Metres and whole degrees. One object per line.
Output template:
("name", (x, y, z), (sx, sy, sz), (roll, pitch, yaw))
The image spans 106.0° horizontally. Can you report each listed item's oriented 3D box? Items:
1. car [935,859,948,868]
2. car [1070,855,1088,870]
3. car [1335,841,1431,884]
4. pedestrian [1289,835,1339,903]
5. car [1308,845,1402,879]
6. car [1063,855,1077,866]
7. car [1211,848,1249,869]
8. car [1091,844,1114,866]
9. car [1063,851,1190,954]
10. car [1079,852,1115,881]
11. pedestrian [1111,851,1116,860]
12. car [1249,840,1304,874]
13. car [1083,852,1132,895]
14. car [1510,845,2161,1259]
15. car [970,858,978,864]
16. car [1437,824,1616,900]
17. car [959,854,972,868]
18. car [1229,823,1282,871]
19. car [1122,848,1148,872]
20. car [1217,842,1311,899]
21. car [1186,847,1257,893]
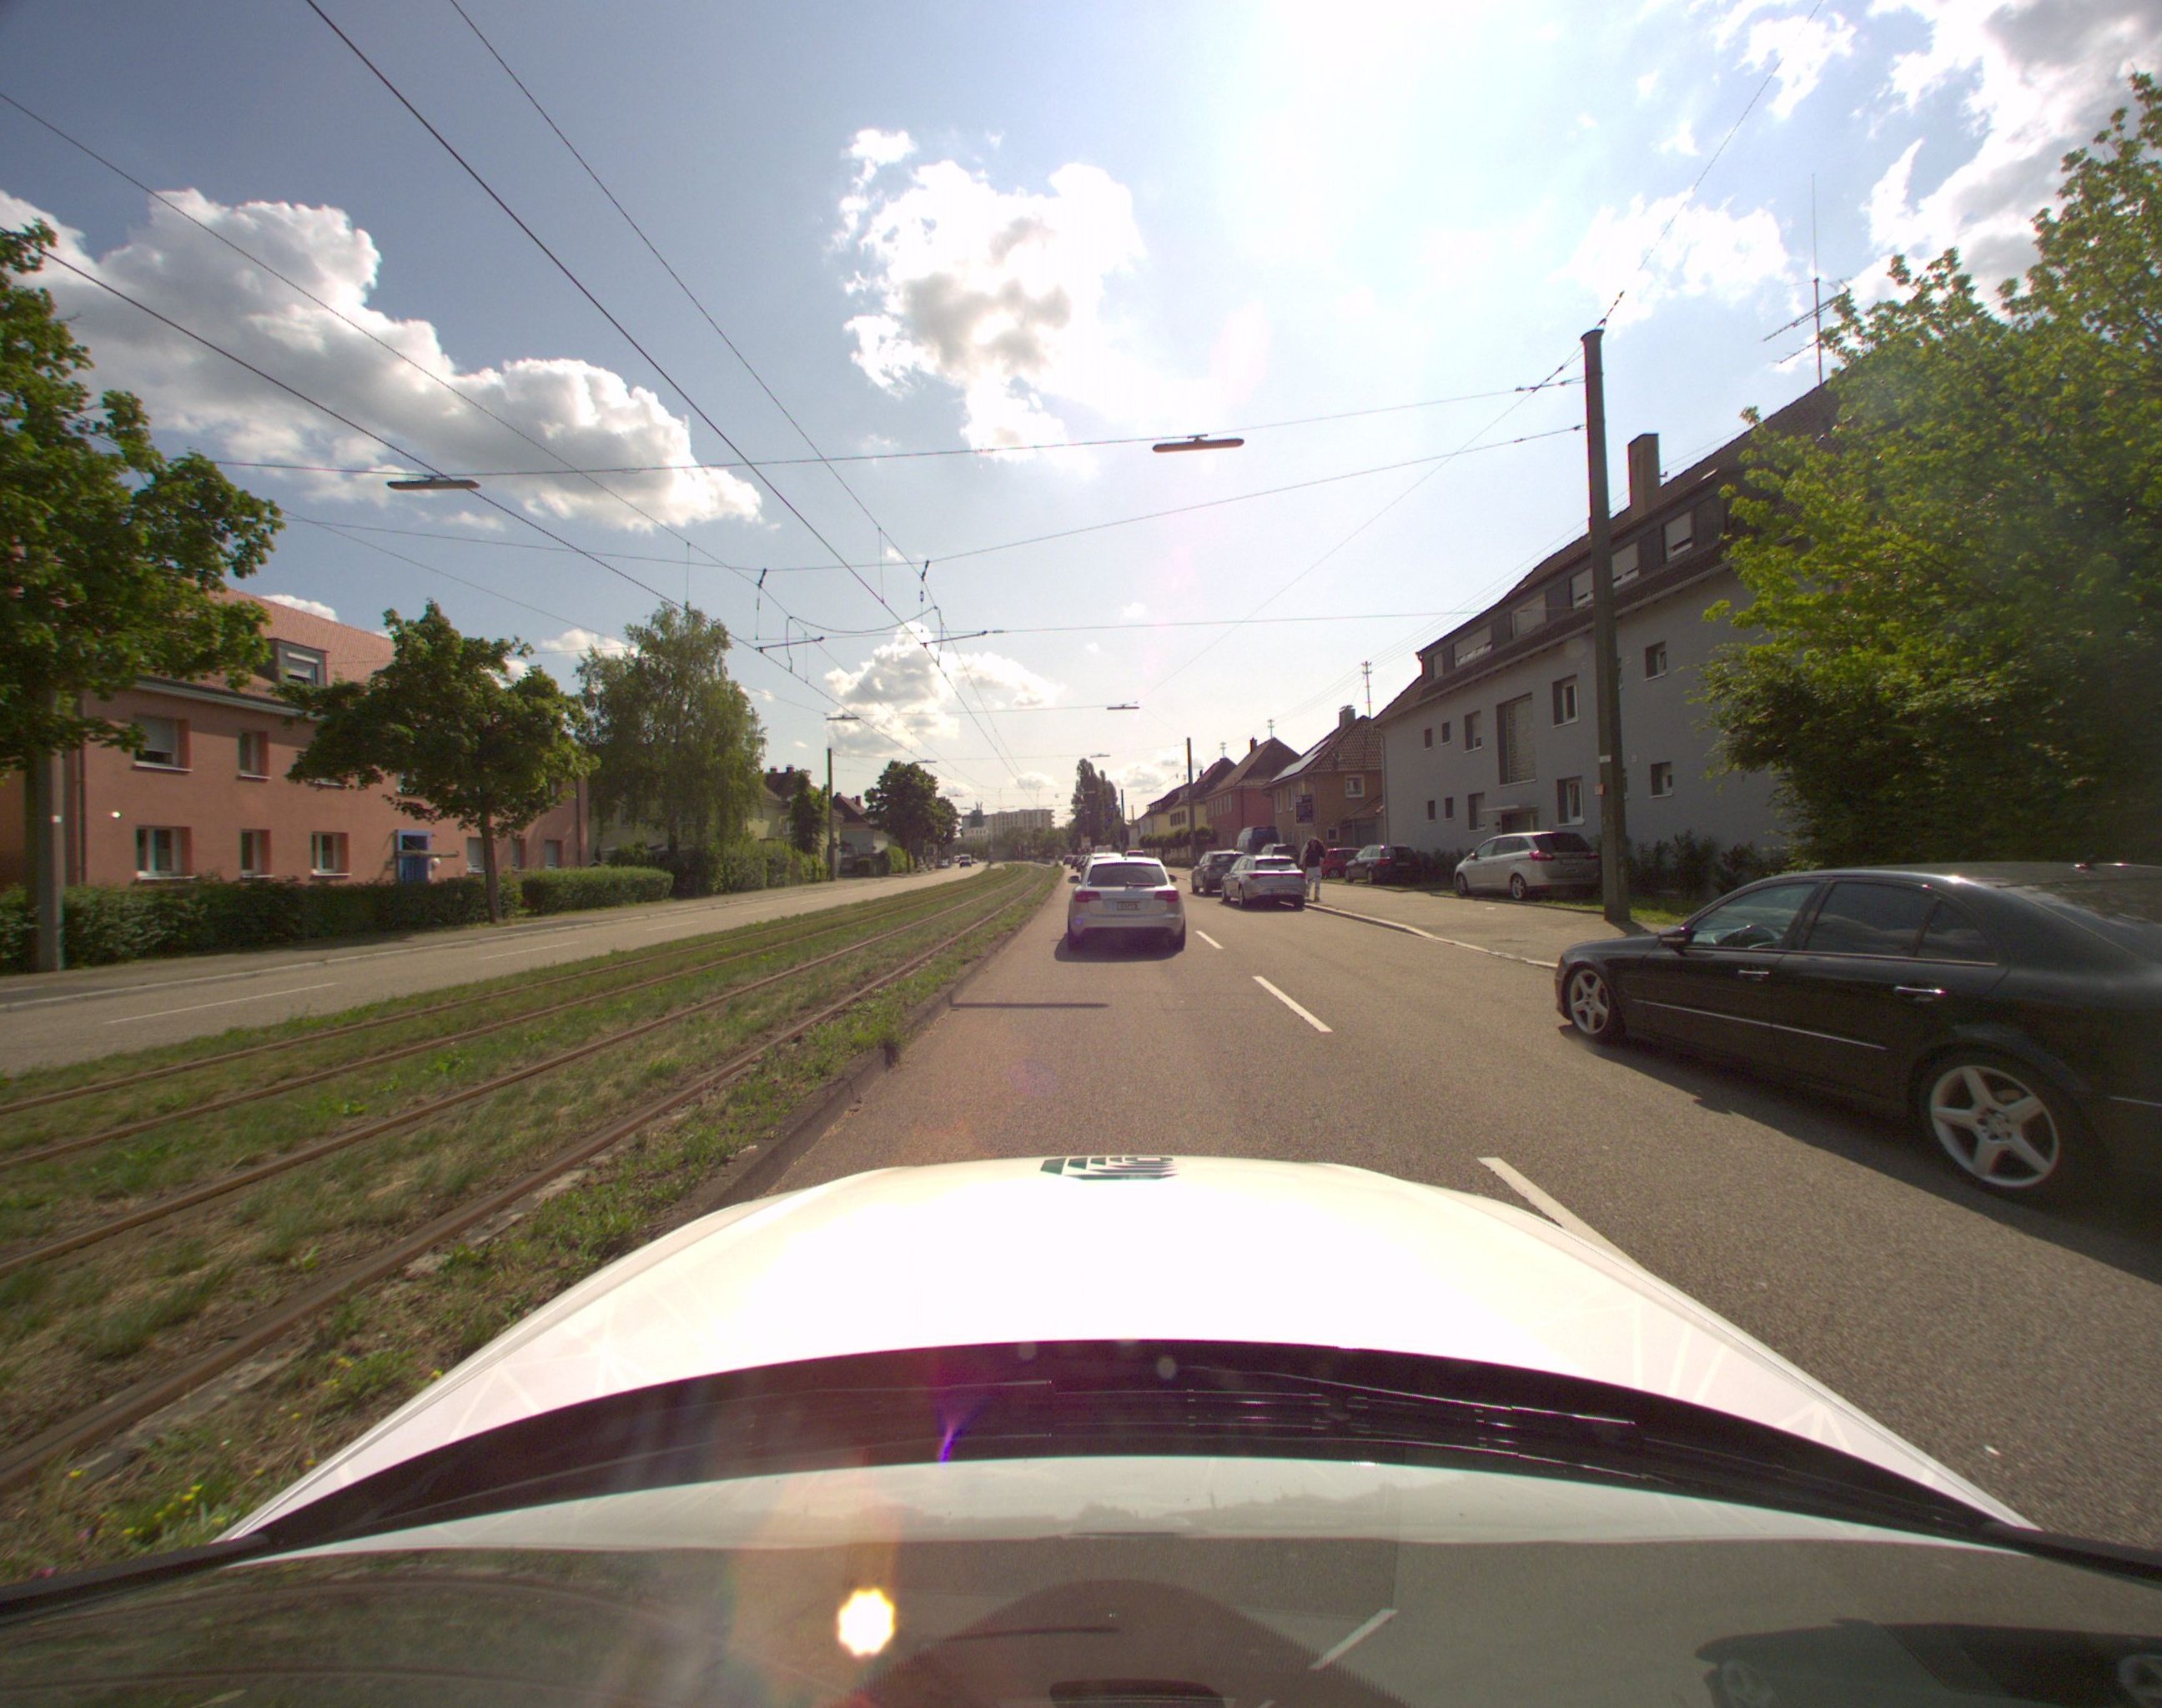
("car", (-24.678, 1.671, 144.209), (1.783, 1.584, 3.925), (-2, 0, -4))
("car", (-0.193, 0.927, 88.160), (1.878, 1.530, 4.094), (0, -1, 1))
("car", (11.267, 0.291, 30.791), (1.793, 1.423, 4.856), (-3, 0, 0))
("pedestrian", (6.938, 0.431, 24.315), (1.108, 1.946, 1.091), (-2, -1, 0))
("car", (12.265, 0.351, 36.591), (3.640, 1.380, 1.725), (-1, -1, -3))
("car", (-1.636, 0.951, 118.430), (1.878, 1.530, 4.094), (0, -1, 1))
("car", (10.949, 0.331, 59.962), (1.646, 1.409, 4.343), (-2, -1, -5))
("car", (2.549, 0.115, 97.989), (2.038, 2.557, 5.220), (-2, 0, -6))
("car", (0.805, 0.727, 14.329), (1.847, 1.492, 4.540), (-1, 0, 3))
("car", (0.925, 0.683, 45.982), (1.878, 1.466, 4.095), (-2, 0, 1))
("pedestrian", (6.663, 0.358, 165.810), (0.720, 1.782, 0.702), (-4, 0, -4))
("car", (11.139, 0.157, 46.824), (1.831, 1.711, 4.861), (-4, 0, -1))
("car", (0.962, 0.709, 31.764), (1.781, 1.577, 4.093), (0, 0, 0))
("car", (4.778, 0.678, 4.859), (1.893, 1.443, 5.059), (0, 0, 1))
("car", (-29.140, 1.808, 221.550), (1.896, 1.541, 3.717), (0, -1, -9))
("car", (11.143, 0.210, 20.827), (1.752, 1.647, 4.764), (-3, -1, -2))
("car", (-20.205, 1.261, 142.230), (2.196, 2.372, 5.315), (-3, 0, -9))
("car", (11.272, -0.409, 53.079), (2.145, 2.930, 6.243), (0, -1, 0))
("car", (4.174, 0.458, 62.811), (1.877, 1.731, 4.098), (-2, 0, 4))
("car", (5.142, 0.452, 23.432), (1.808, 1.454, 4.645), (0, -1, 2))
("car", (5.131, 0.574, 30.347), (1.802, 1.559, 4.250), (0, -1, -2))
